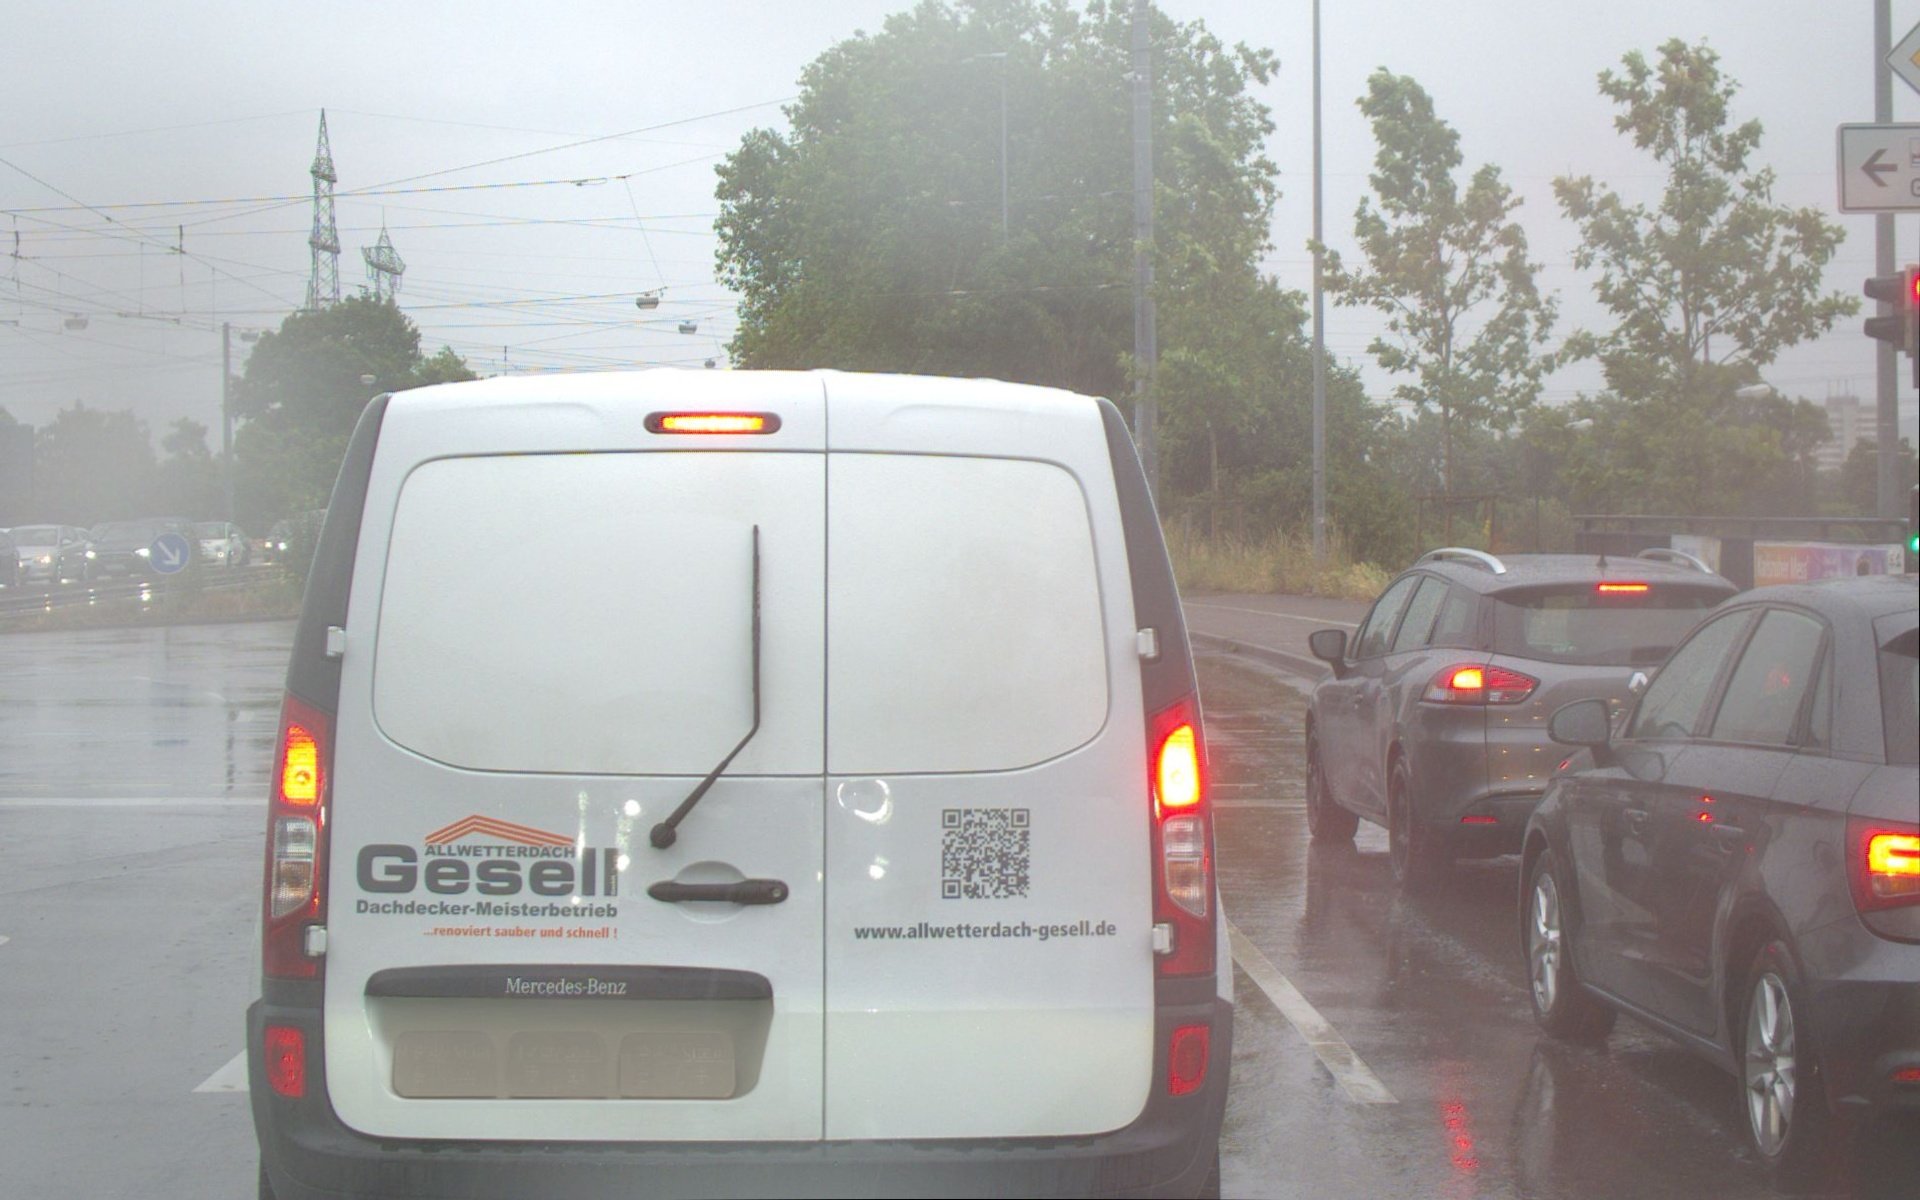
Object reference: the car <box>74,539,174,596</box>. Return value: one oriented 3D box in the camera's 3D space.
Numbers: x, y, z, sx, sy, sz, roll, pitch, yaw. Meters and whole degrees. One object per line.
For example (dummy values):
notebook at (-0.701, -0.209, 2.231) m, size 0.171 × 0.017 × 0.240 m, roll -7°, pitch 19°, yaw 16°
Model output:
car at (-22.158, -0.849, 91.255) m, size 1.710 × 1.421 × 3.809 m, roll 2°, pitch 0°, yaw -1°

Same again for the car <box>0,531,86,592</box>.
car at (-22.552, -0.935, 83.884) m, size 1.559 × 1.421 × 3.569 m, roll 2°, pitch 0°, yaw -1°

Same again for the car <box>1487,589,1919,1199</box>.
car at (2.537, 0.656, 8.953) m, size 1.597 × 1.362 × 3.631 m, roll -1°, pitch 0°, yaw -3°

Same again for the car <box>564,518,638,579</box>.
car at (-10.497, -1.479, 100.703) m, size 1.947 × 1.656 × 4.465 m, roll 2°, pitch 0°, yaw -4°

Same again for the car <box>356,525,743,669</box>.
car at (-4.611, -0.012, 39.257) m, size 1.712 × 1.496 × 4.500 m, roll 2°, pitch 0°, yaw 37°

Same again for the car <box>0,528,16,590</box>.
car at (-22.533, -0.958, 77.396) m, size 1.559 × 1.421 × 3.569 m, roll 2°, pitch 0°, yaw -1°

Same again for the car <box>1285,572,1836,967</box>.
car at (2.557, 0.653, 15.529) m, size 1.684 × 1.503 × 3.921 m, roll 1°, pitch 1°, yaw -1°

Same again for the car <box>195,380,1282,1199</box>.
car at (-0.503, 0.461, 7.680) m, size 1.754 × 1.744 × 4.170 m, roll 1°, pitch 2°, yaw -4°
